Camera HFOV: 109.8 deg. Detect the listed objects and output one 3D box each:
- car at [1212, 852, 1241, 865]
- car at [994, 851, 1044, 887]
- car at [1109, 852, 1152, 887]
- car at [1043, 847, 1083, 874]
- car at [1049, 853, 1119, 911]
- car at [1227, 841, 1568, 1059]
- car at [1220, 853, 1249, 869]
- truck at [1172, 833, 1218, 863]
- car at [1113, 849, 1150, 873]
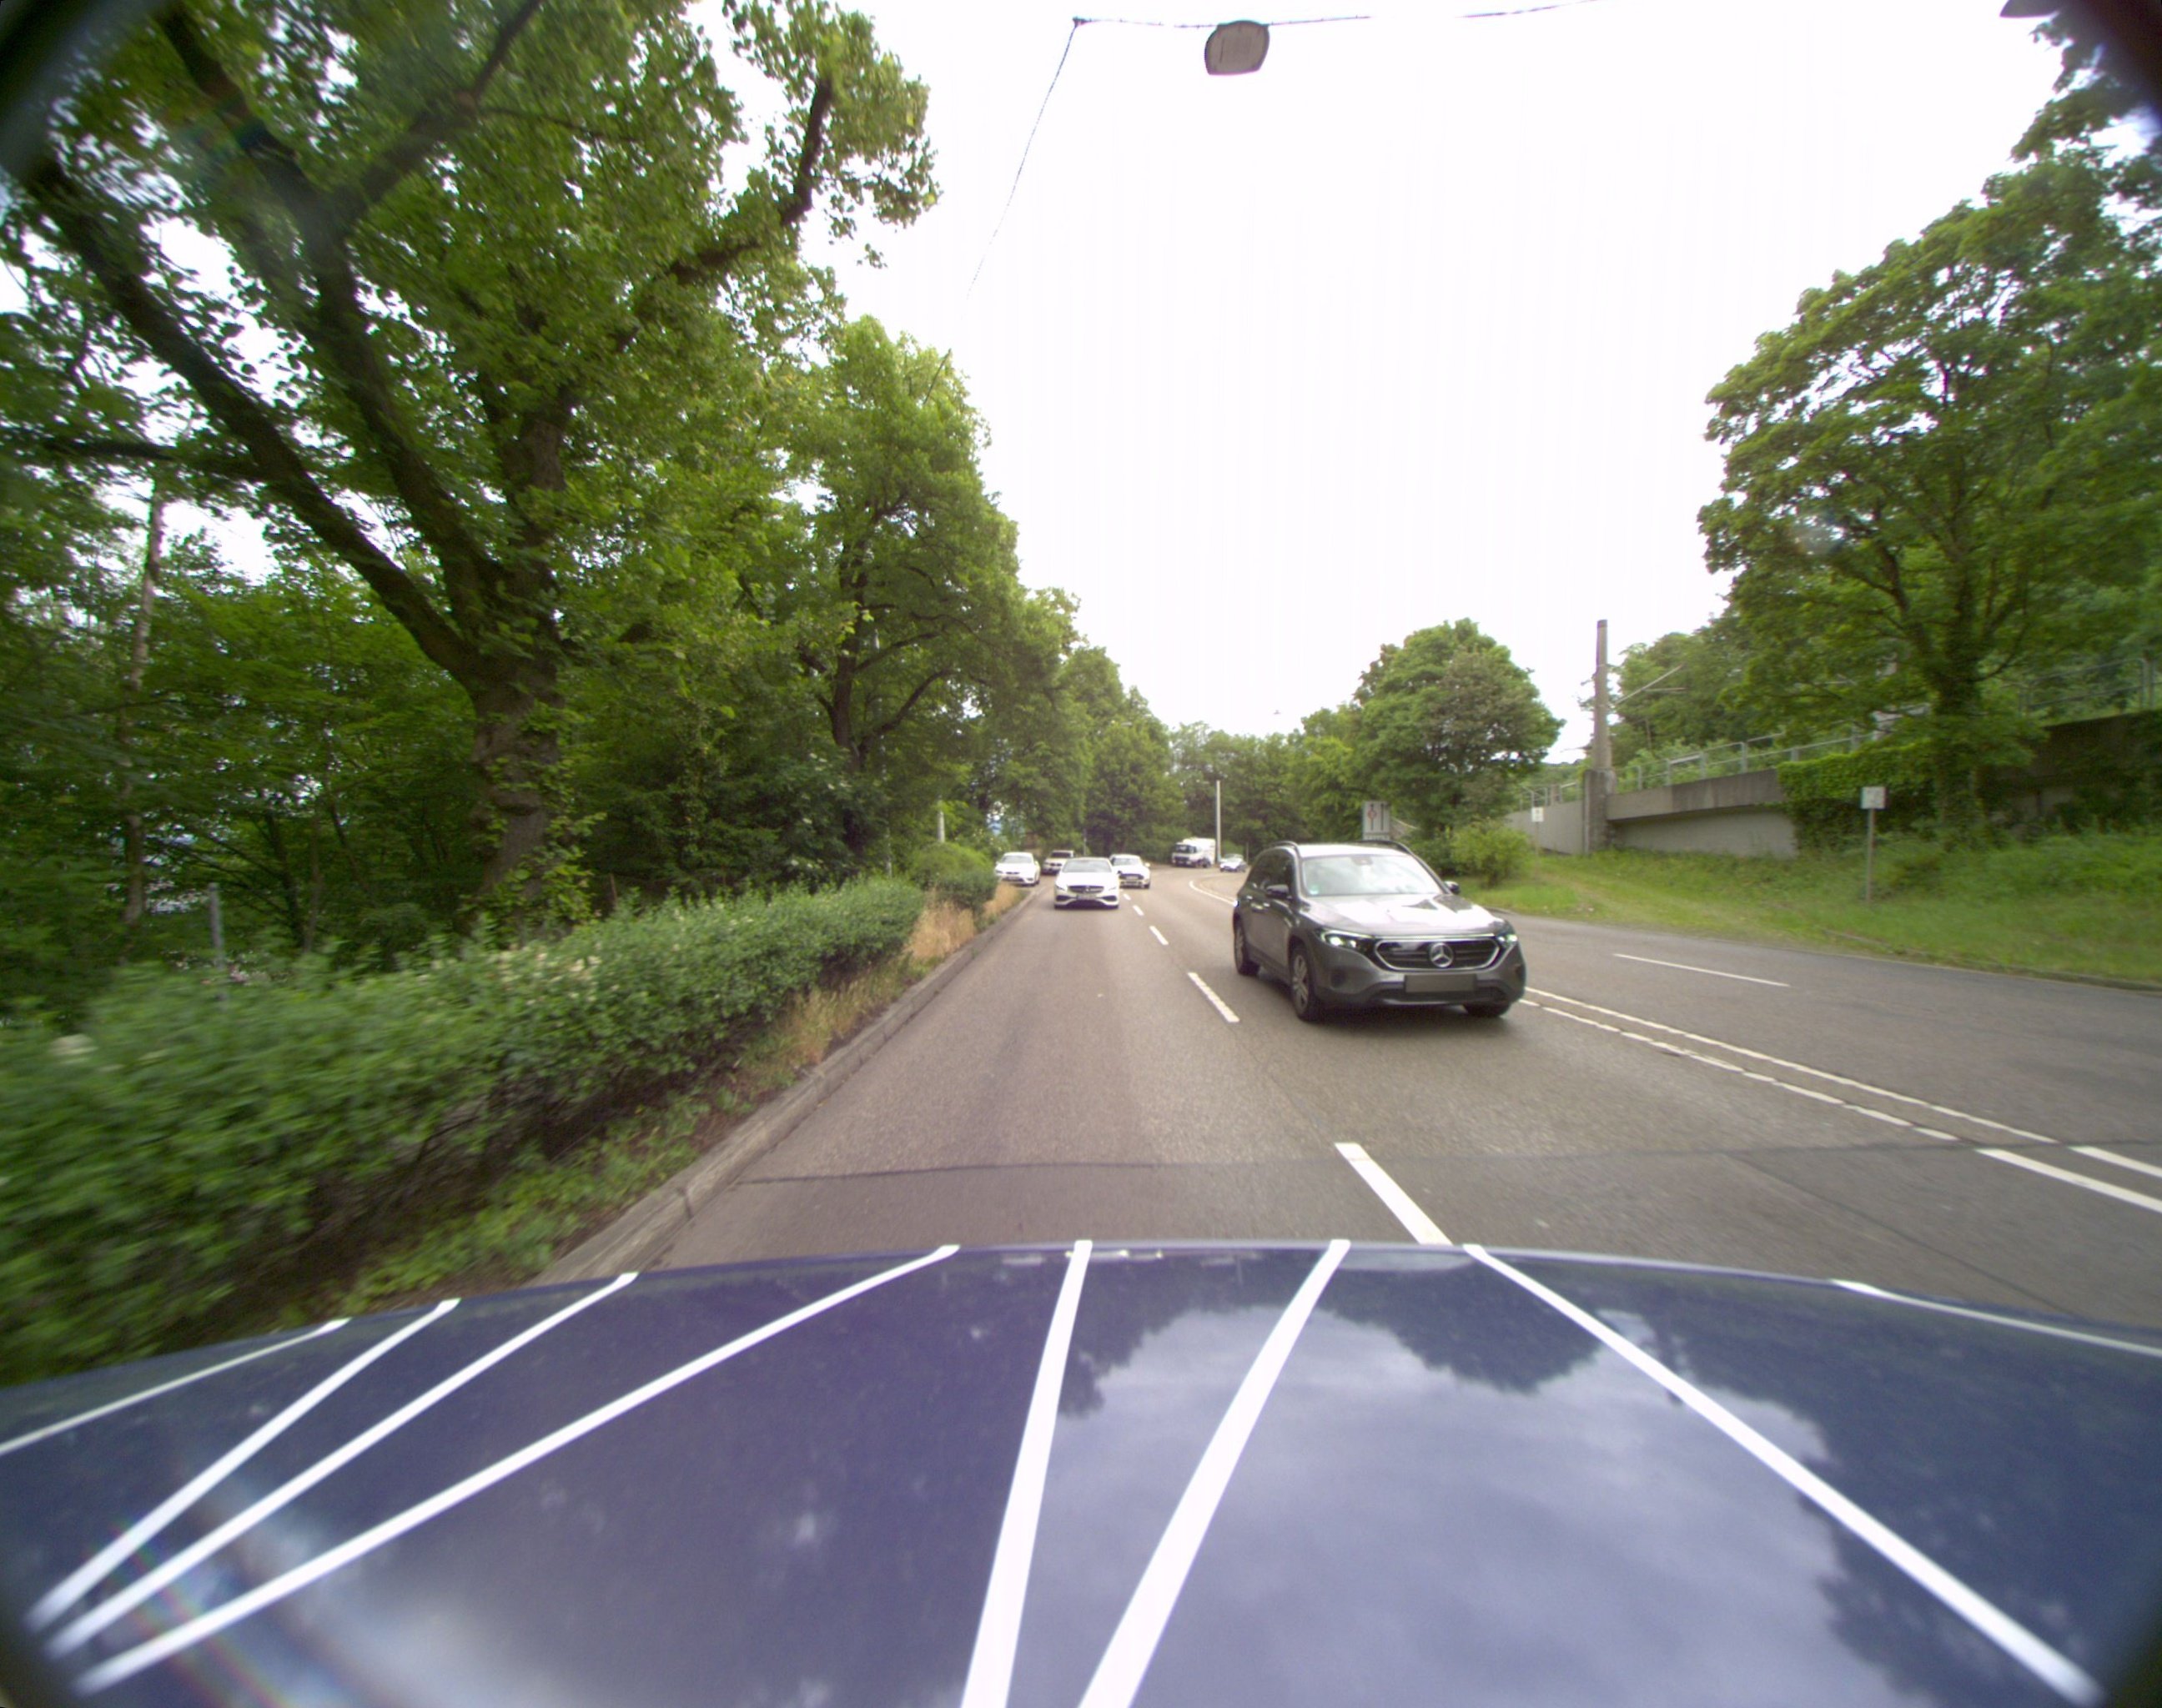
[{"bbox_3d":[17.157,0.513,89.389,1.751,1.354,4.019,3,1,35],"label":"car"},{"bbox_3d":[-2.654,0.615,33.371,1.765,1.433,3.892,1,0,1],"label":"car"},{"bbox_3d":[2.141,0.662,33.589,1.688,1.415,3.733,-1,0,1],"label":"car"},{"bbox_3d":[-1.101,0.400,48.859,1.754,1.575,4.014,1,0,11],"label":"car"},{"bbox_3d":[0.184,0.749,21.993,1.801,1.470,4.011,-1,0,3],"label":"car"},{"bbox_3d":[2.857,0.743,8.036,1.854,1.641,4.358,-1,0,1],"label":"car"},{"bbox_3d":[14.695,0.638,72.754,1.660,1.382,4.191,3,1,25],"label":"car"},{"bbox_3d":[12.301,-0.597,81.411,2.195,3.137,6.665,1,0,33],"label":"truck"},{"bbox_3d":[3.351,0.428,49.839,1.753,1.417,4.014,3,1,13],"label":"car"}]
